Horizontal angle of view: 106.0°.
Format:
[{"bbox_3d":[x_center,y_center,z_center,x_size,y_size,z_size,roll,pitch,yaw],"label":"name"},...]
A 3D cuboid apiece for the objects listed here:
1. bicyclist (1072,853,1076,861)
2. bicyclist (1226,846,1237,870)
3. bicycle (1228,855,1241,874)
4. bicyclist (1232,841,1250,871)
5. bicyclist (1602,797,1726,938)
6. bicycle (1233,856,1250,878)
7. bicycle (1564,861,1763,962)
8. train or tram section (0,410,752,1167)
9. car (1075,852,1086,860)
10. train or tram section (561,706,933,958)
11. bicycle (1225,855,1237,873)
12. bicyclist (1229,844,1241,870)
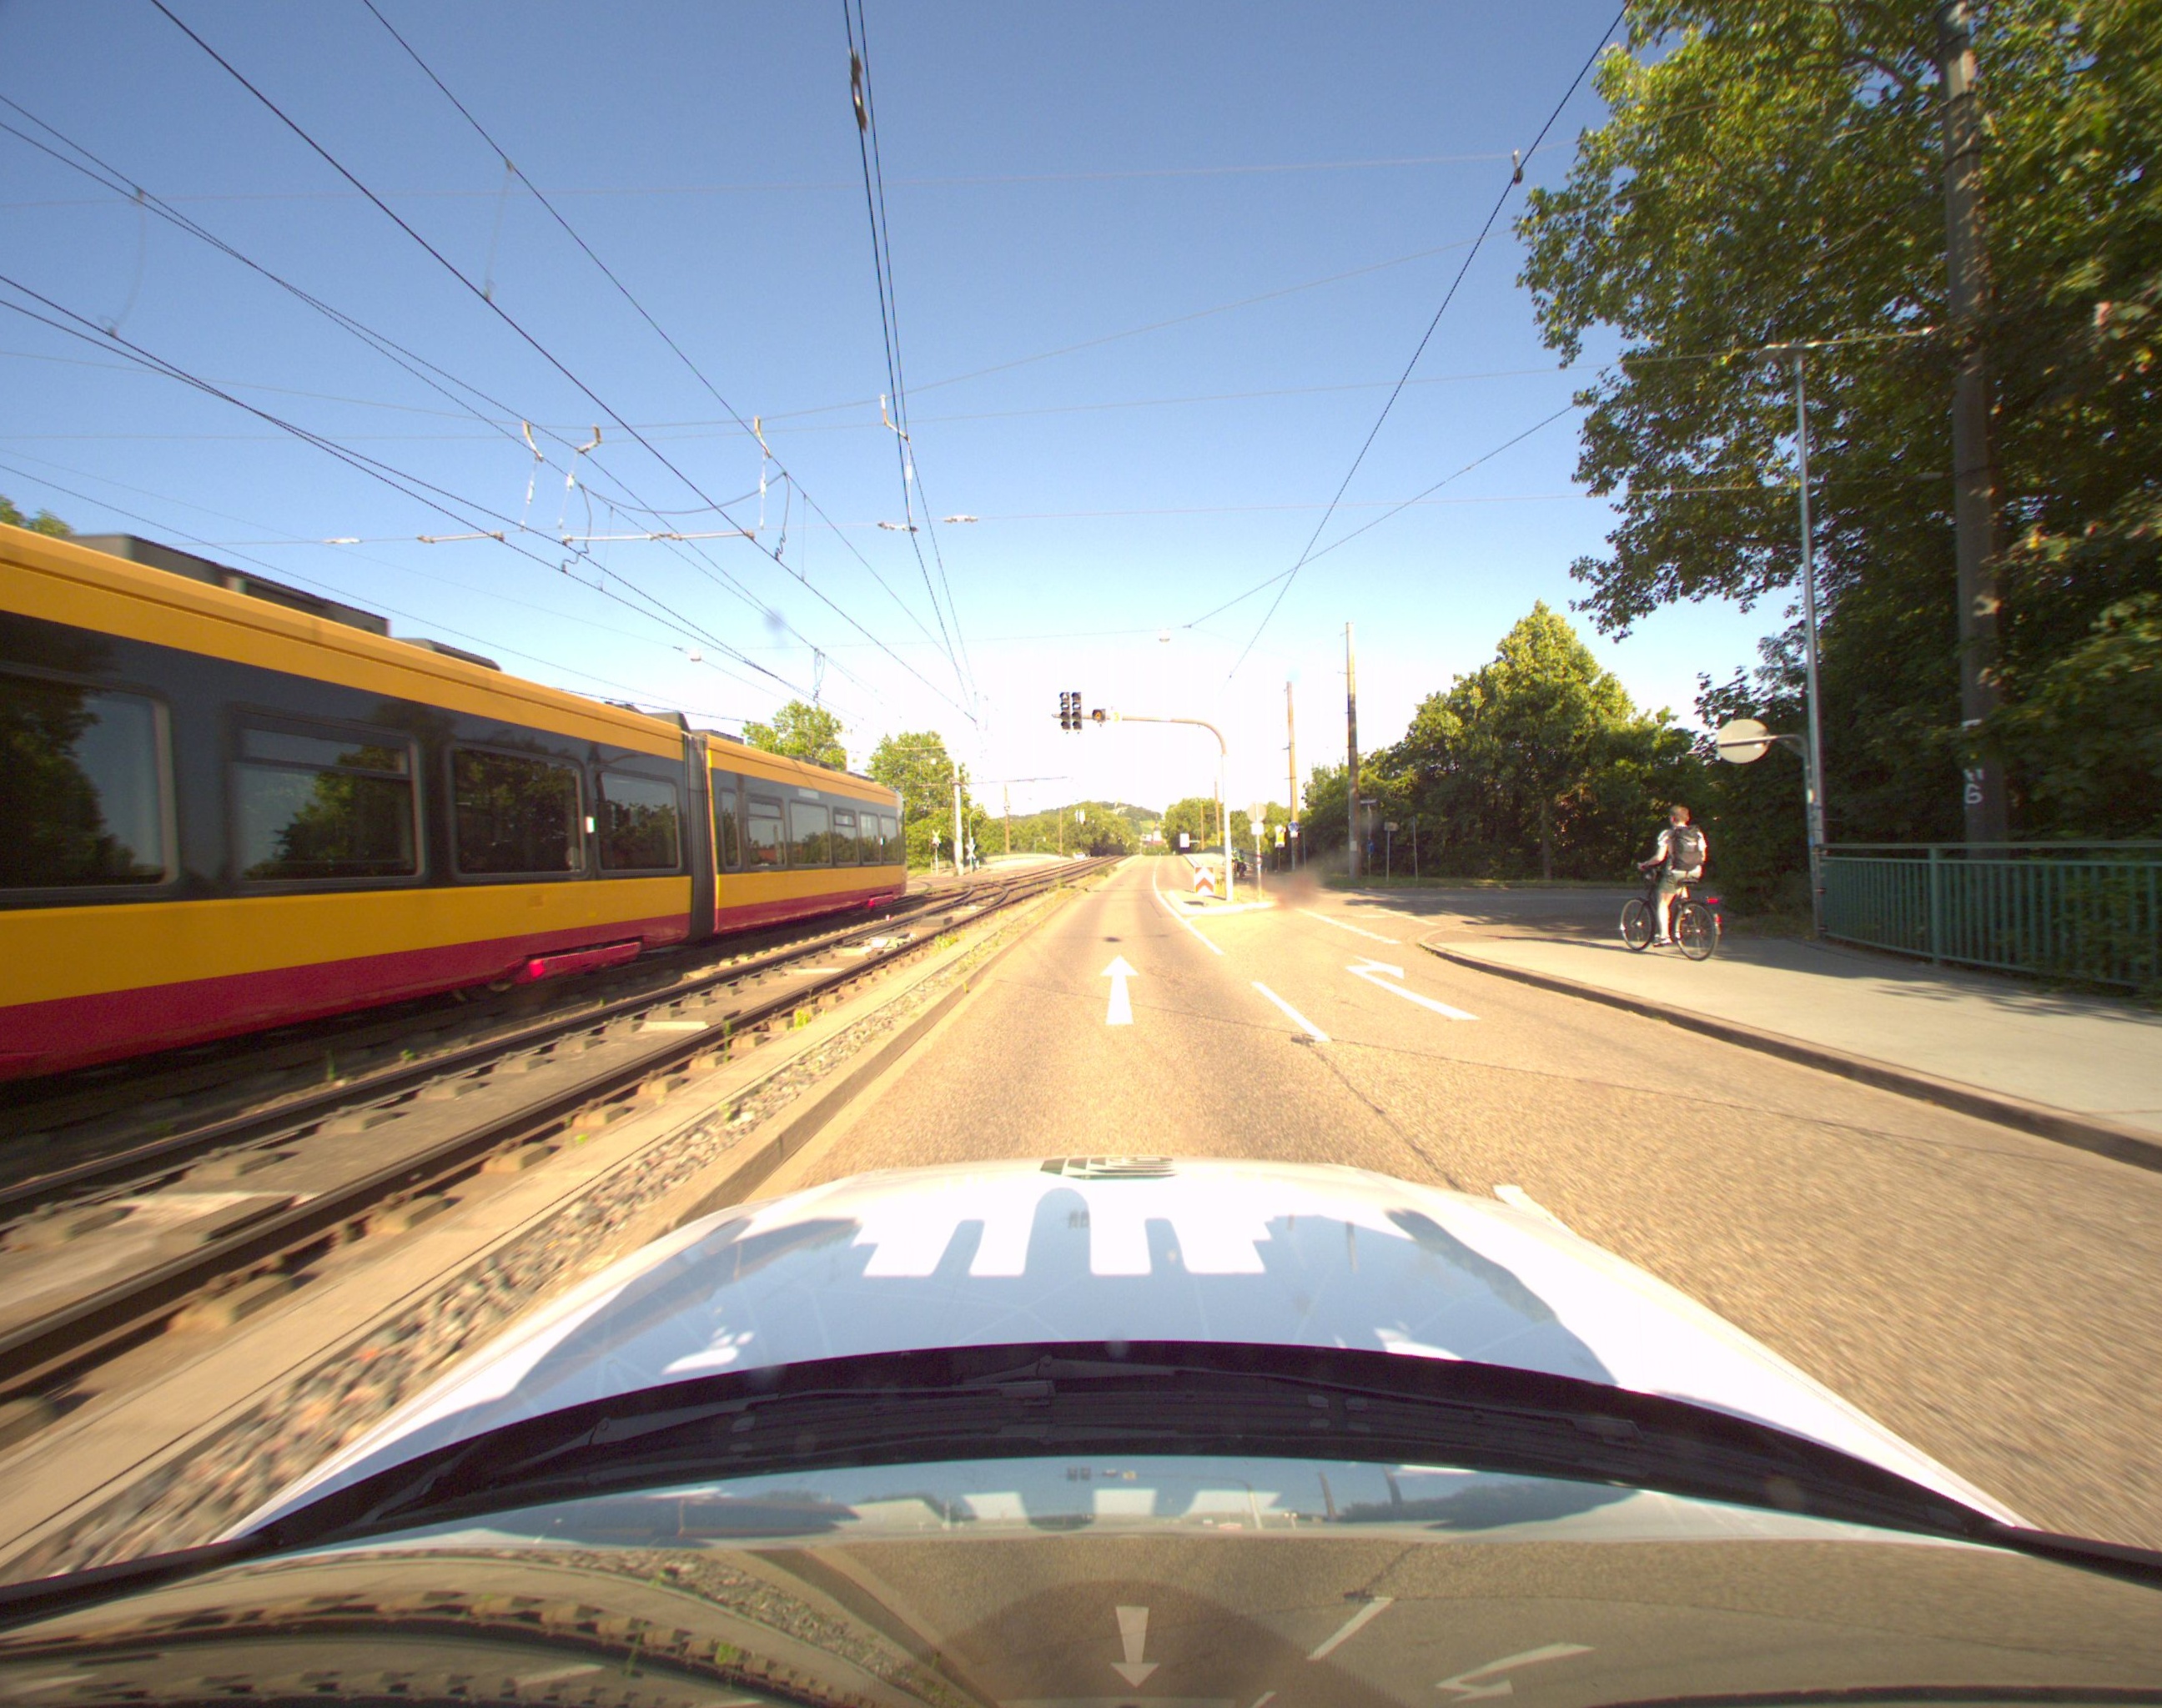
[{"bbox_3d":[-1.561,0.601,174.284,0.621,1.633,0.938,-1,0,9],"label":"bicyclist"},{"bbox_3d":[9.701,0.239,52.608,0.622,1.508,1.008,-1,0,7],"label":"bicyclist"},{"bbox_3d":[9.311,0.626,49.497,0.622,1.122,2.045,-1,0,6],"label":"bicycle"},{"bbox_3d":[8.668,0.101,44.147,0.808,1.562,0.898,-1,1,5],"label":"bicyclist"},{"bbox_3d":[7.463,0.166,10.490,0.728,1.689,1.203,-1,0,2],"label":"bicyclist"},{"bbox_3d":[8.693,0.697,44.173,0.680,1.122,2.220,-1,1,6],"label":"bicycle"},{"bbox_3d":[7.469,0.673,10.678,0.728,1.122,2.744,-1,0,3],"label":"bicycle"},{"bbox_3d":[-6.922,-0.313,6.976,2.964,3.900,11.671,-2,0,2],"label":"train or tram section"},{"bbox_3d":[-0.067,0.405,157.403,1.675,1.356,4.928,-1,0,6],"label":"car"},{"bbox_3d":[-6.430,-0.342,19.189,2.966,3.900,12.709,-2,0,2],"label":"train or tram section"},{"bbox_3d":[9.704,0.621,52.570,0.621,1.122,2.264,-1,0,7],"label":"bicycle"},{"bbox_3d":[9.340,0.175,49.514,0.622,1.592,0.932,-1,0,6],"label":"bicyclist"}]
